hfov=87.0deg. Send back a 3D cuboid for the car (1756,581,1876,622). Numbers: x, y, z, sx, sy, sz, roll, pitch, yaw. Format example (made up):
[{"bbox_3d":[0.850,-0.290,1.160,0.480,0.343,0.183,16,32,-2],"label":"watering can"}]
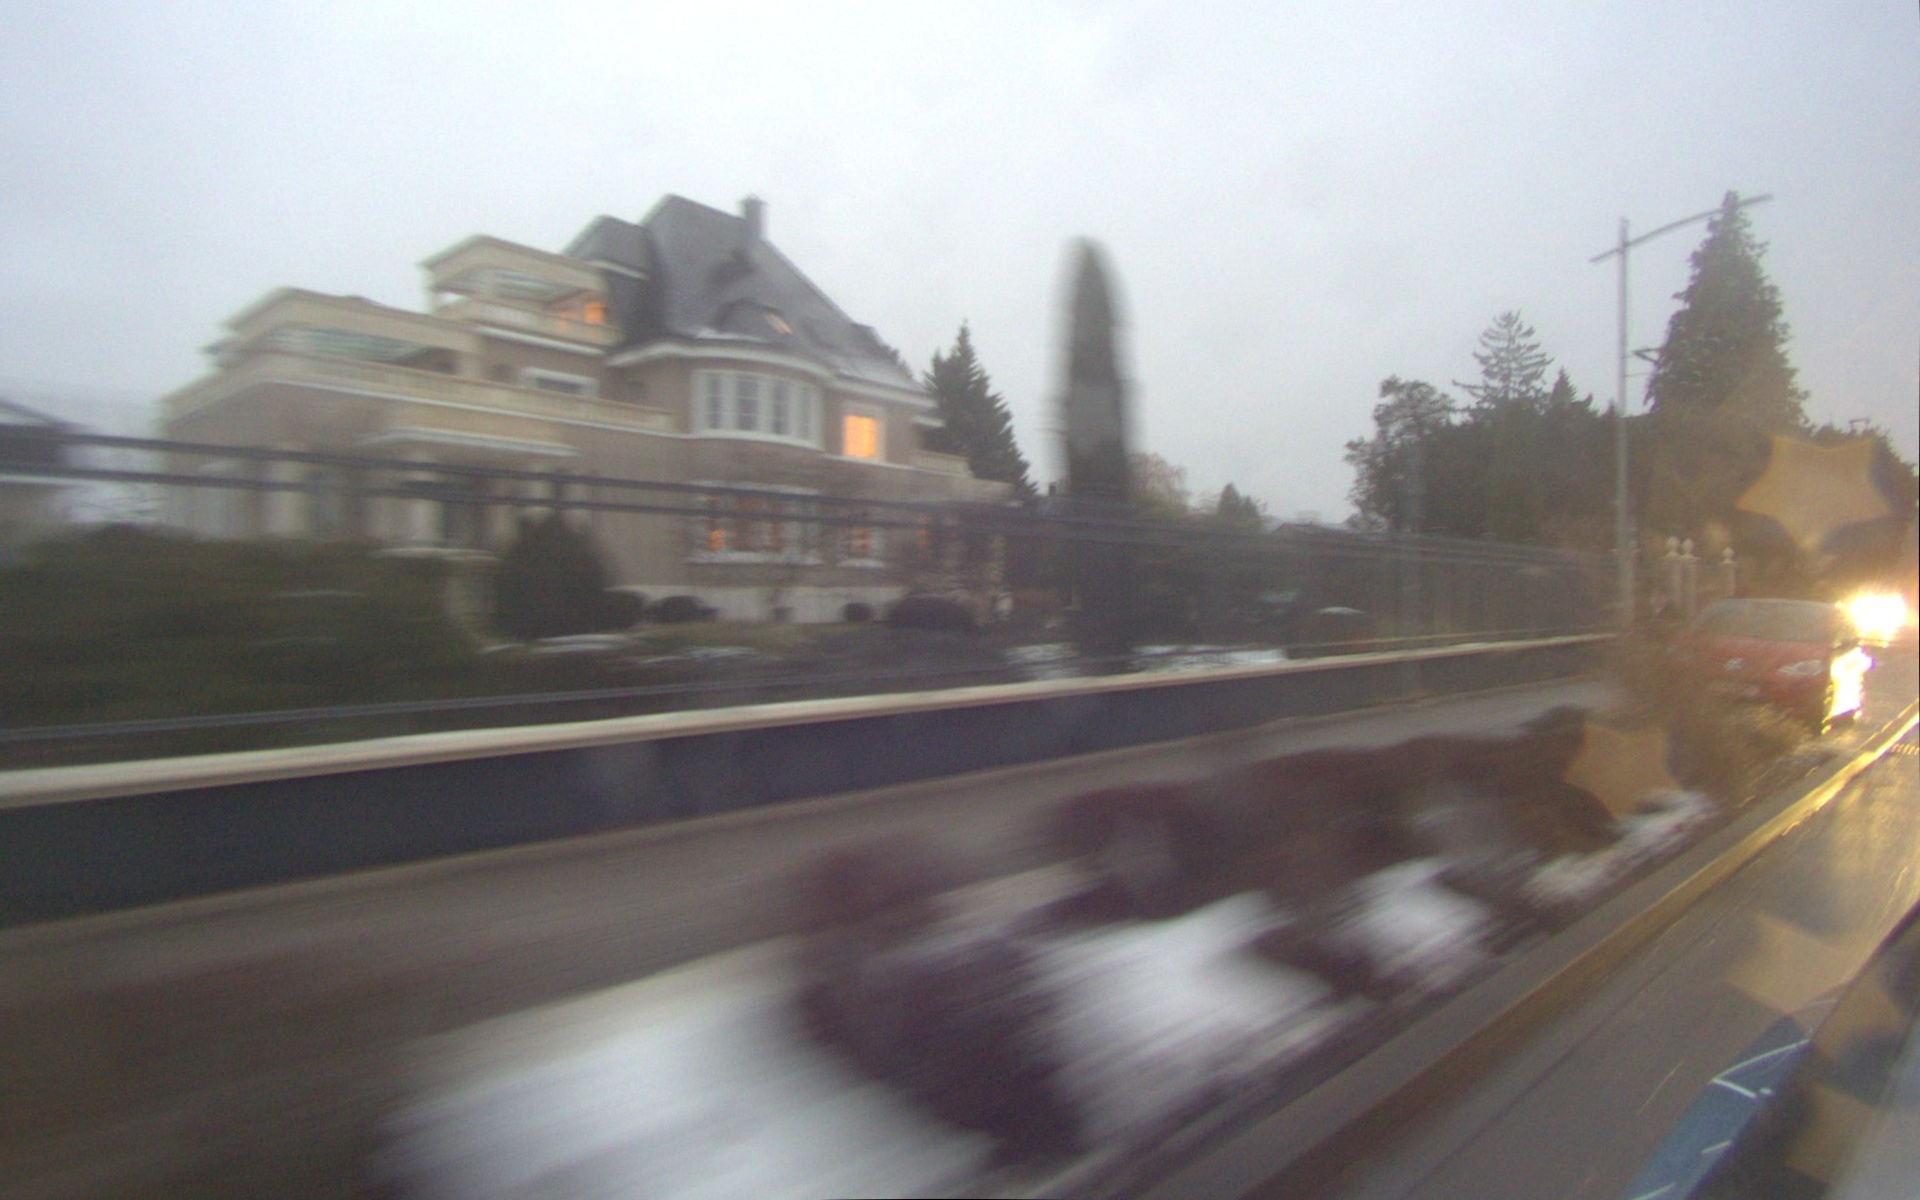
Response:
[{"bbox_3d":[42.188,0.052,50.000,4.313,1.753,1.973,4,2,37],"label":"car"}]

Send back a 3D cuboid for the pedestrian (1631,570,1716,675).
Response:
[{"bbox_3d":[12.589,0.372,17.852,1.038,1.763,0.989,0,2,-43],"label":"pedestrian"}]

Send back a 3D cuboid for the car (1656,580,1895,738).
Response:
[{"bbox_3d":[9.948,0.594,12.283,3.332,1.558,1.653,0,4,-42],"label":"car"}]

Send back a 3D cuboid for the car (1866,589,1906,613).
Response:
[{"bbox_3d":[65.882,0.088,72.051,1.767,1.638,3.820,-1,0,38],"label":"car"}]

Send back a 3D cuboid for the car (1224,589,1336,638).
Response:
[{"bbox_3d":[10.107,0.382,31.802,1.805,1.392,3.936,1,1,44],"label":"car"}]
